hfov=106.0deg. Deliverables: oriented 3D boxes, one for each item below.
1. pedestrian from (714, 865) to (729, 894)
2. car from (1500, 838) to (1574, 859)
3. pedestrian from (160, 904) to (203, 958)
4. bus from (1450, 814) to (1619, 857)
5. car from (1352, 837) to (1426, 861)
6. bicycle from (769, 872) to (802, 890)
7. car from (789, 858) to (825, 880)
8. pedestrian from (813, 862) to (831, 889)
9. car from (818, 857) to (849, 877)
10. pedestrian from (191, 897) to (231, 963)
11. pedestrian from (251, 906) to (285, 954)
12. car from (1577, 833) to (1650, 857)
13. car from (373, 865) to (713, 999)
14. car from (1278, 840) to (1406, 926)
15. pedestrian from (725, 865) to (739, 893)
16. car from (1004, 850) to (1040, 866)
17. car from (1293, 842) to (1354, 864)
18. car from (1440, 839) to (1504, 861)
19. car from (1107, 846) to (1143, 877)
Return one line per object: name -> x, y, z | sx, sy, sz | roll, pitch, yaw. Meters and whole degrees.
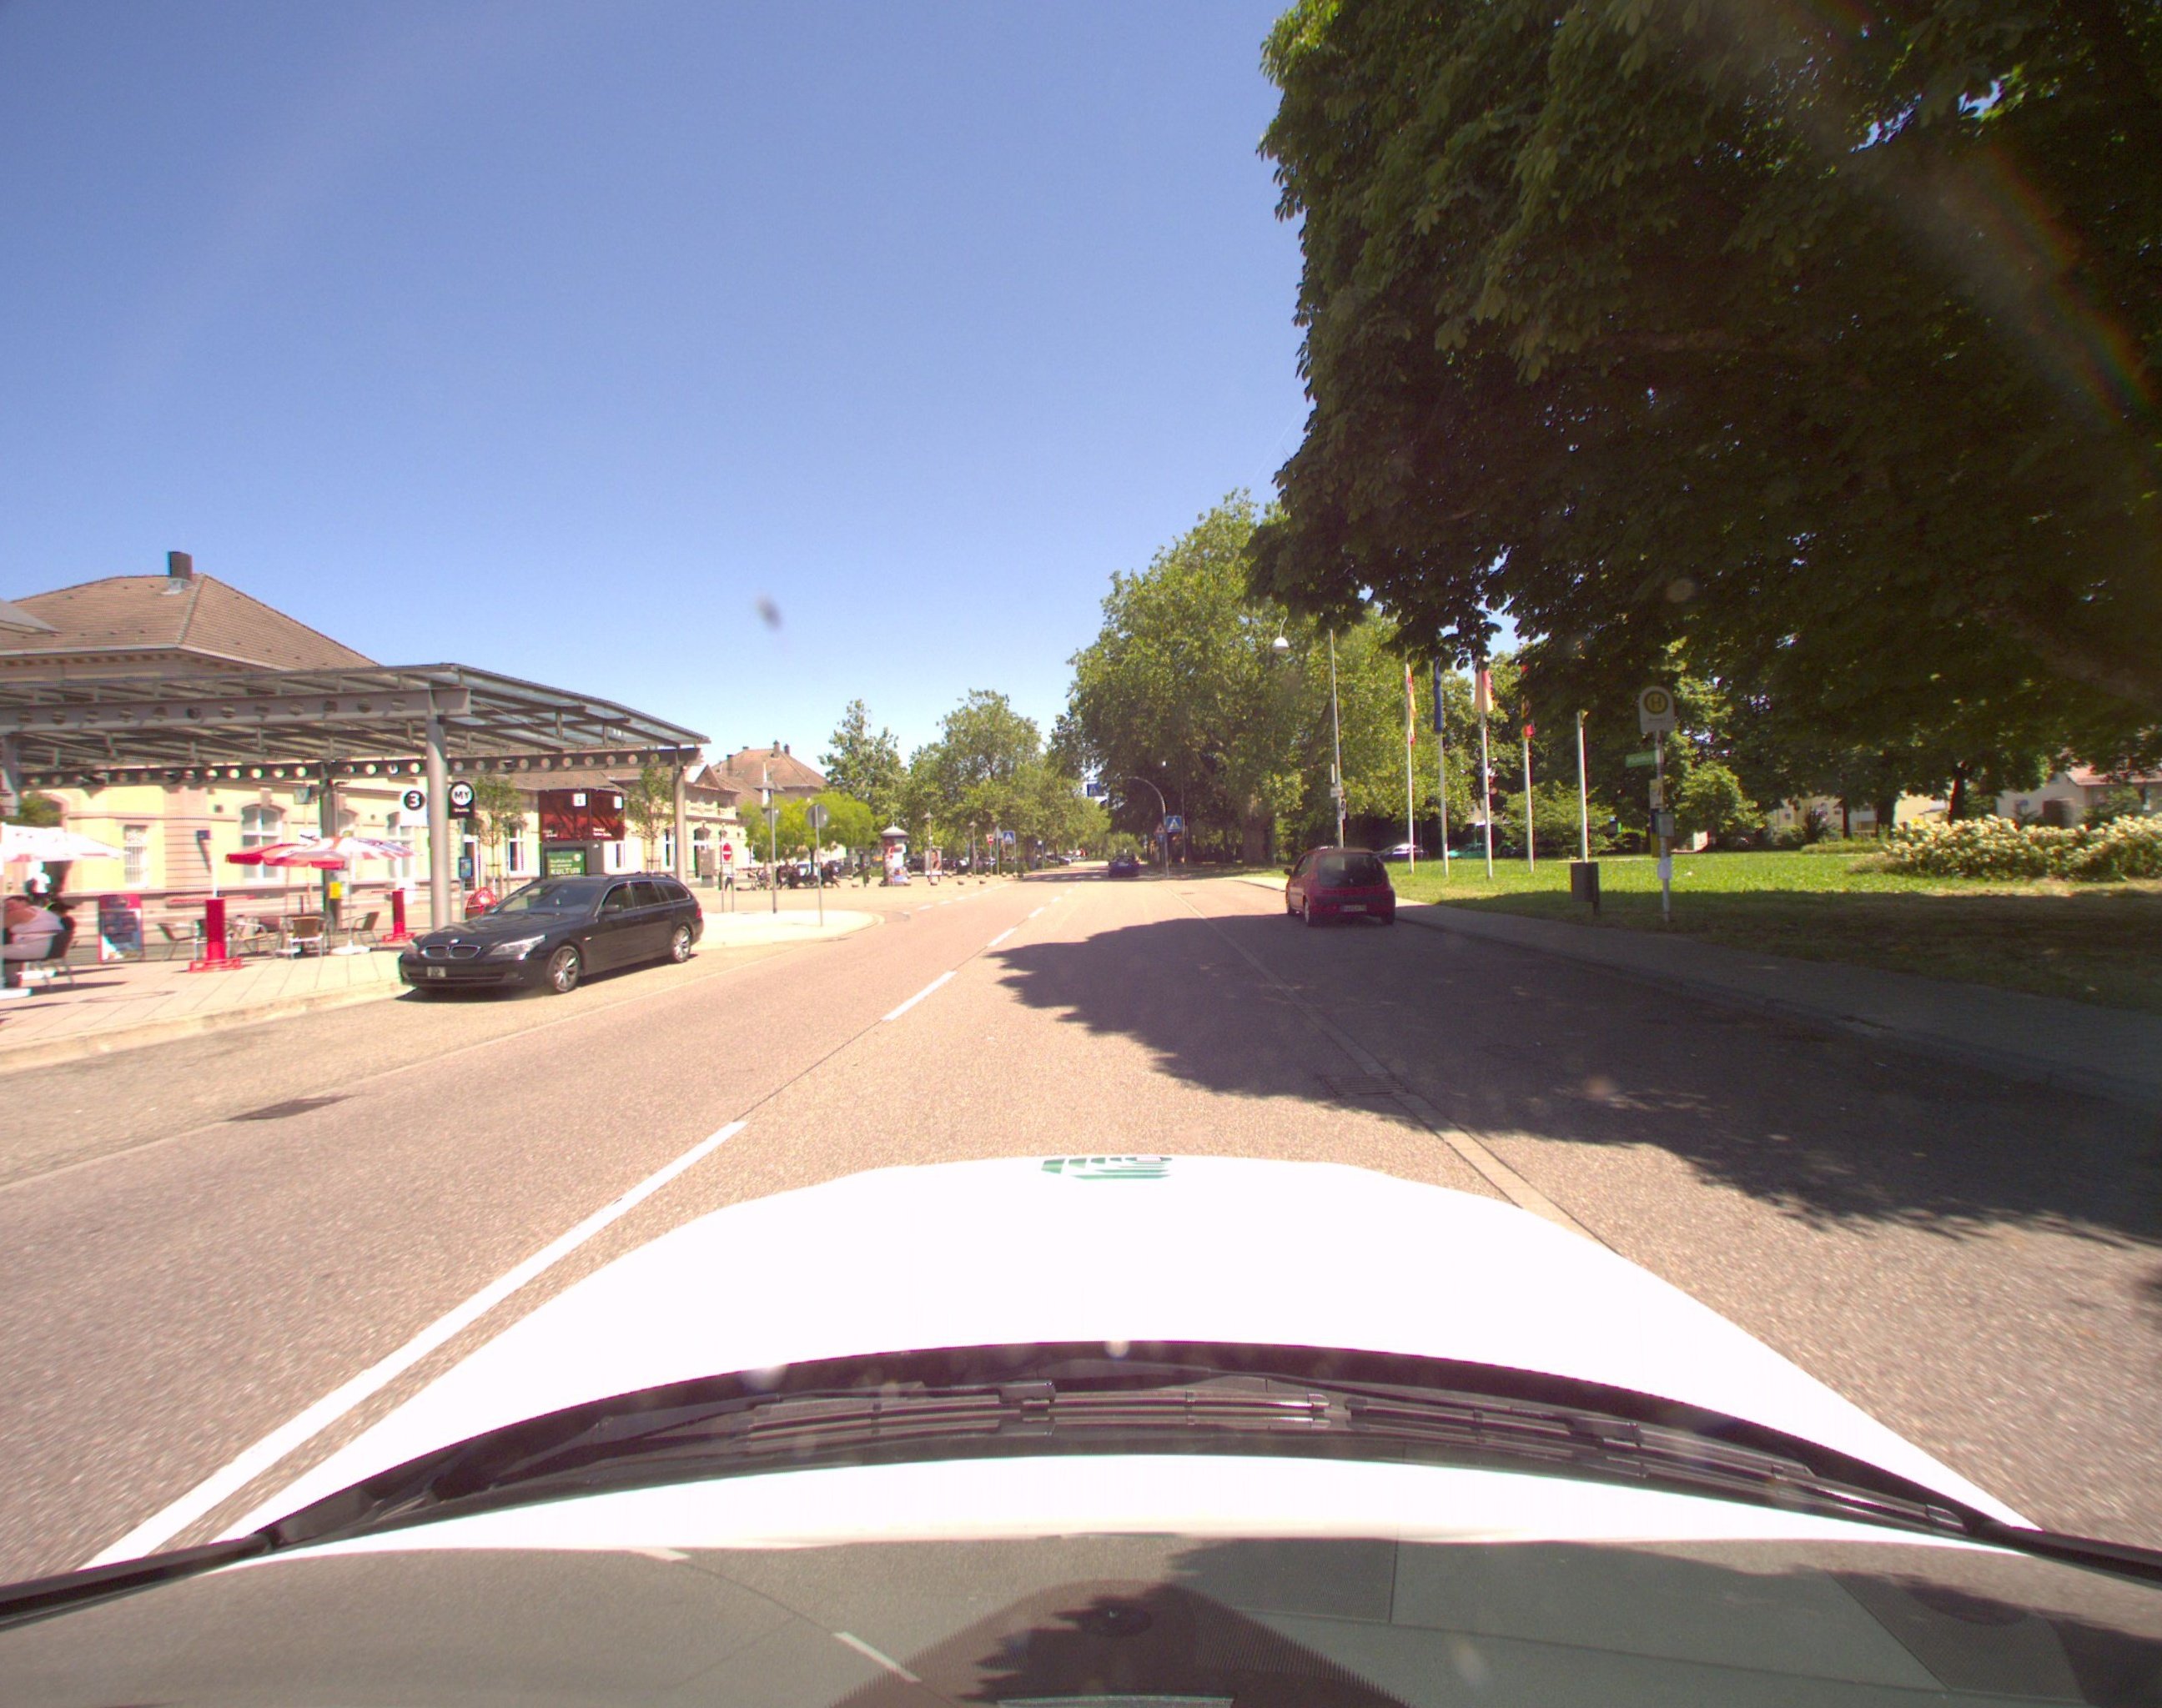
pedestrian -> -21.525, 1.514, 48.742 | 0.661, 1.673, 0.624 | 0, -3, -43
car -> 34.025, -0.404, 60.852 | 4.319, 1.416, 2.002 | -1, -1, 3
pedestrian -> -16.693, 1.421, 15.112 | 0.421, 0.972, 0.373 | -3, -2, 15
bus -> 36.856, -1.445, 66.466 | 12.329, 2.978, 2.270 | -2, -1, 2
car -> 23.112, -0.373, 61.291 | 4.799, 1.607, 2.004 | -2, 0, 6
bicycle -> -17.555, 1.595, 48.376 | 1.799, 1.030, 0.485 | -2, -1, -21
car -> -26.885, 1.440, 80.066 | 1.744, 1.917, 4.779 | -2, 1, 2
pedestrian -> -16.253, 1.336, 51.044 | 0.754, 1.659, 0.724 | -3, -2, 19
car -> -26.334, 1.324, 86.775 | 1.986, 2.013, 4.002 | -2, 0, 2
pedestrian -> -15.445, 1.338, 14.457 | 0.367, 1.123, 0.429 | -4, -2, 37
pedestrian -> -16.283, 1.512, 16.314 | 0.373, 0.923, 0.422 | -1, -2, -27
car -> 39.436, -0.647, 60.390 | 4.078, 1.609, 2.002 | -1, -1, 4
car -> -7.495, 0.963, 12.100 | 1.712, 1.478, 4.787 | -2, 0, 2
car -> 5.148, 0.521, 16.524 | 1.710, 1.478, 3.712 | -3, 0, 6
pedestrian -> -21.166, 1.517, 49.375 | 0.589, 1.710, 0.580 | 0, -3, -43
car -> -7.117, 0.440, 97.690 | 3.995, 1.781, 1.989 | -2, -1, -16
car -> 18.392, -0.102, 61.955 | 4.085, 1.466, 2.003 | -2, 0, 5
car -> 29.289, -0.277, 61.089 | 3.863, 1.454, 2.002 | -1, -1, 4
car -> 2.821, 0.456, 51.385 | 2.115, 1.848, 4.053 | -1, 0, 4
